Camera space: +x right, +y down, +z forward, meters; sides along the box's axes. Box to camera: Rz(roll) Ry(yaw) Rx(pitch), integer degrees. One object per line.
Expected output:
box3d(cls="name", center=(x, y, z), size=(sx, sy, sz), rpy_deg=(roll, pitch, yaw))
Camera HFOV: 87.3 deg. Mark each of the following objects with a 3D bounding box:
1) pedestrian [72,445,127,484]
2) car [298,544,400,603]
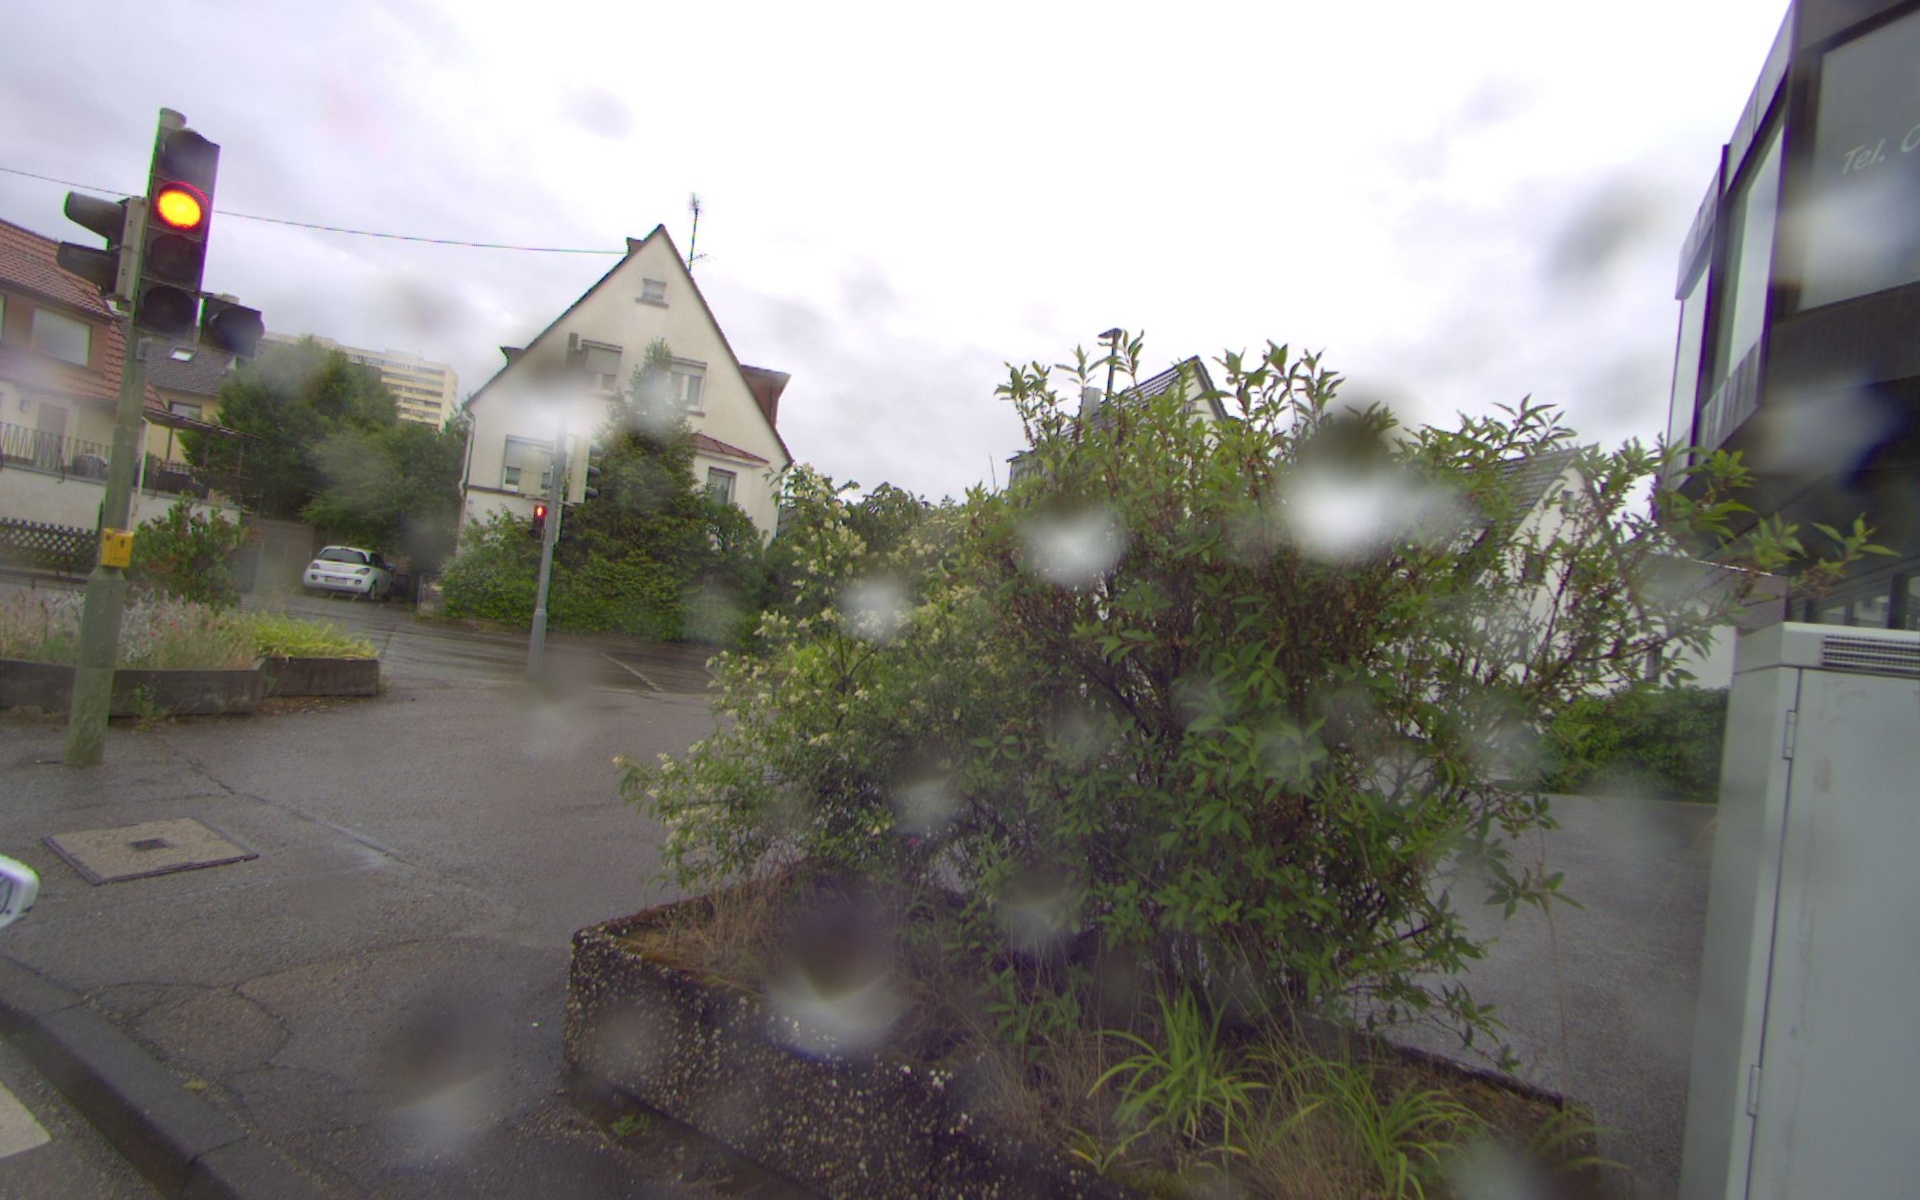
box3d(cls="pedestrian", center=(-24.268, -3.803, 28.371), size=(0.623, 0.893, 0.920), rpy_deg=(5, -2, 13))
box3d(cls="car", center=(-17.753, -0.745, 29.422), size=(1.794, 1.378, 3.981), rpy_deg=(8, -2, -22))
